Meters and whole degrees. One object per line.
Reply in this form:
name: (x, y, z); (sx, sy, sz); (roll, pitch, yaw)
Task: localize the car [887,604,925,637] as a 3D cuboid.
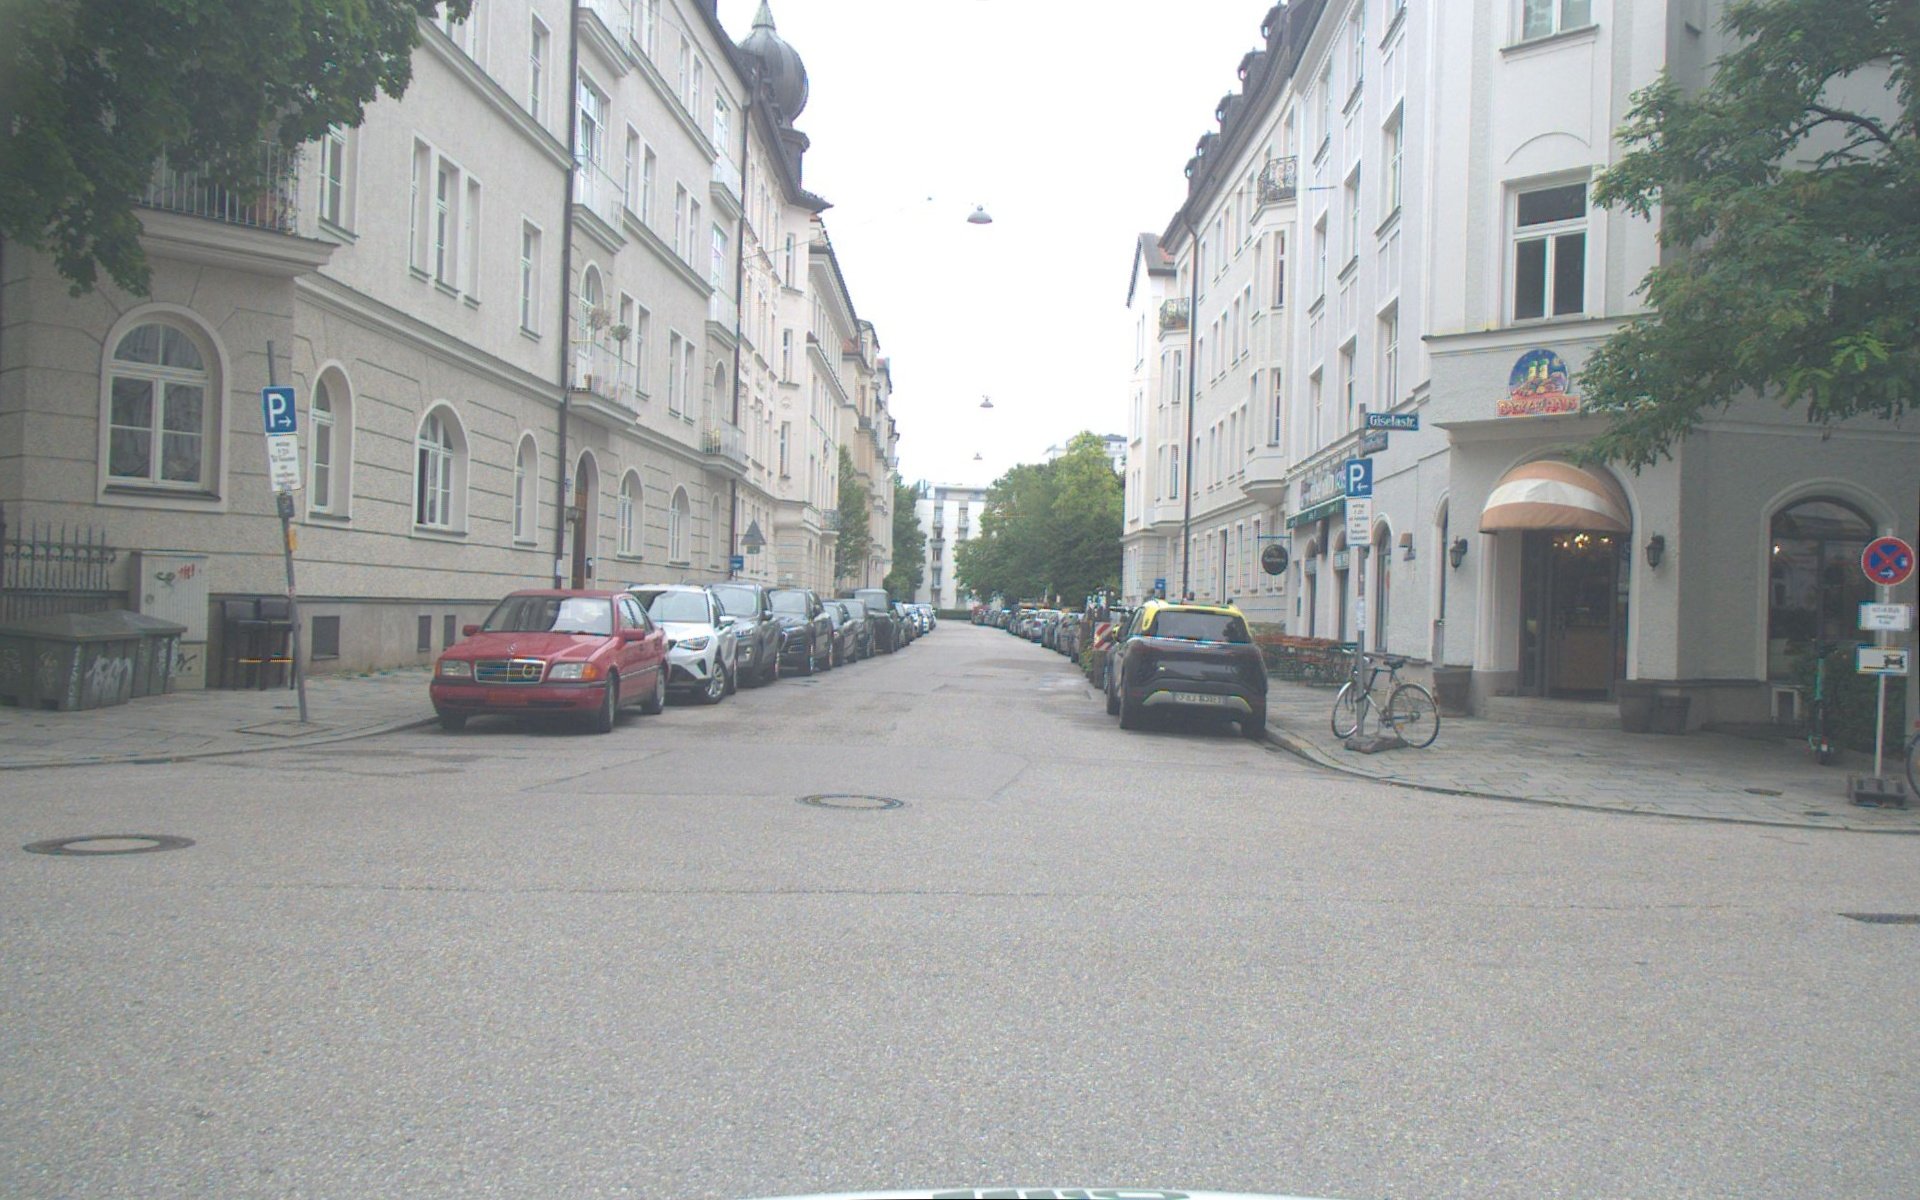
car: (-2.558, 0.969, 78.521); (1.699, 1.444, 3.999); (2, 0, -1)

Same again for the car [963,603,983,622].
car: (1.476, 1.435, 186.528); (1.953, 2.017, 4.891); (2, 0, -2)

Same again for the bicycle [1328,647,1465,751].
bicycle: (4.828, 1.068, 18.404); (0.531, 1.016, 1.744); (-1, 1, -22)

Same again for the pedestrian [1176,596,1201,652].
pedestrian: (7.844, 0.821, 56.824); (0.761, 1.883, 0.860); (2, 0, 9)

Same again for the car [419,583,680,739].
car: (-4.212, 0.577, 17.646); (1.695, 1.402, 4.226); (2, 0, 0)

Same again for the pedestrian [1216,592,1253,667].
pedestrian: (7.056, 0.746, 42.520); (0.762, 1.883, 1.023); (2, 0, 2)

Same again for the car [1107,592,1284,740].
car: (3.036, 0.807, 22.145); (1.782, 1.664, 4.289); (4, 0, 2)

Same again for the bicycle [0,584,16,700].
bicycle: (-9.081, 0.412, 14.713); (0.484, 1.070, 1.825); (2, 2, -7)

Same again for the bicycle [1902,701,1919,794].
bicycle: (9.159, 1.317, 14.580); (1.383, 0.796, 0.544); (1, 0, 10)

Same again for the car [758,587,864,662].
car: (-3.403, 0.543, 38.435); (1.885, 1.573, 4.001); (2, 0, 2)

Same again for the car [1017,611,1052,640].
car: (4.069, 1.392, 90.985); (1.695, 1.442, 3.851); (2, 0, -1)

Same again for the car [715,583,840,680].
car: (-3.477, 0.579, 32.276); (1.953, 1.705, 4.288); (2, 0, -1)

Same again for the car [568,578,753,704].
car: (-3.949, 0.506, 22.482); (1.954, 1.499, 4.215); (2, 0, -4)

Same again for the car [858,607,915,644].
car: (-2.678, 0.920, 60.981); (1.867, 1.243, 4.000); (2, 0, 1)

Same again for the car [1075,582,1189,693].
car: (3.296, 0.695, 32.346); (1.782, 1.903, 4.289); (4, 0, 2)

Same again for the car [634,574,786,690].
car: (-4.037, 0.494, 27.299); (1.953, 1.705, 4.011); (2, 0, -2)

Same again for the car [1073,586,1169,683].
car: (3.614, 0.749, 37.784); (1.782, 1.957, 4.184); (4, 0, 2)

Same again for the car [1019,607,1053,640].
car: (5.005, 1.514, 109.044); (1.953, 2.017, 4.892); (2, 0, 0)

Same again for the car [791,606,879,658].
car: (-3.313, 0.833, 44.497); (1.867, 1.243, 4.001); (2, 0, 2)

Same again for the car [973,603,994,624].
car: (2.512, 1.416, 175.615); (1.953, 2.017, 4.891); (2, 0, -2)

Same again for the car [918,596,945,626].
car: (-2.028, 0.778, 117.781); (1.808, 2.049, 4.000); (2, 0, 0)

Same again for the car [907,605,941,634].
car: (-2.161, 1.168, 99.576); (1.953, 1.601, 3.999); (2, 0, -1)

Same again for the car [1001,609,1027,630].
car: (4.422, 1.609, 136.241); (1.910, 1.681, 3.999); (1, 0, -1)

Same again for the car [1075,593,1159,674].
car: (3.979, 0.827, 42.498); (1.952, 1.889, 4.347); (2, 0, 3)

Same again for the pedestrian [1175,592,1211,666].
pedestrian: (6.060, 0.737, 43.051); (0.762, 1.883, 1.023); (2, 0, 2)

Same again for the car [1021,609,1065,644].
car: (4.009, 1.274, 80.255); (1.868, 1.604, 3.999); (2, 0, -1)

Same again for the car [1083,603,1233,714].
car: (3.138, 0.885, 27.087); (1.936, 1.524, 4.638); (4, 0, 2)

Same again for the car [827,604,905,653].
car: (-2.749, 0.817, 49.185); (1.867, 1.352, 4.001); (2, 0, 2)

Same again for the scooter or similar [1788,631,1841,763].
scooter or similar: (9.131, 1.010, 17.694); (0.419, 1.301, 1.278); (2, 1, 26)
